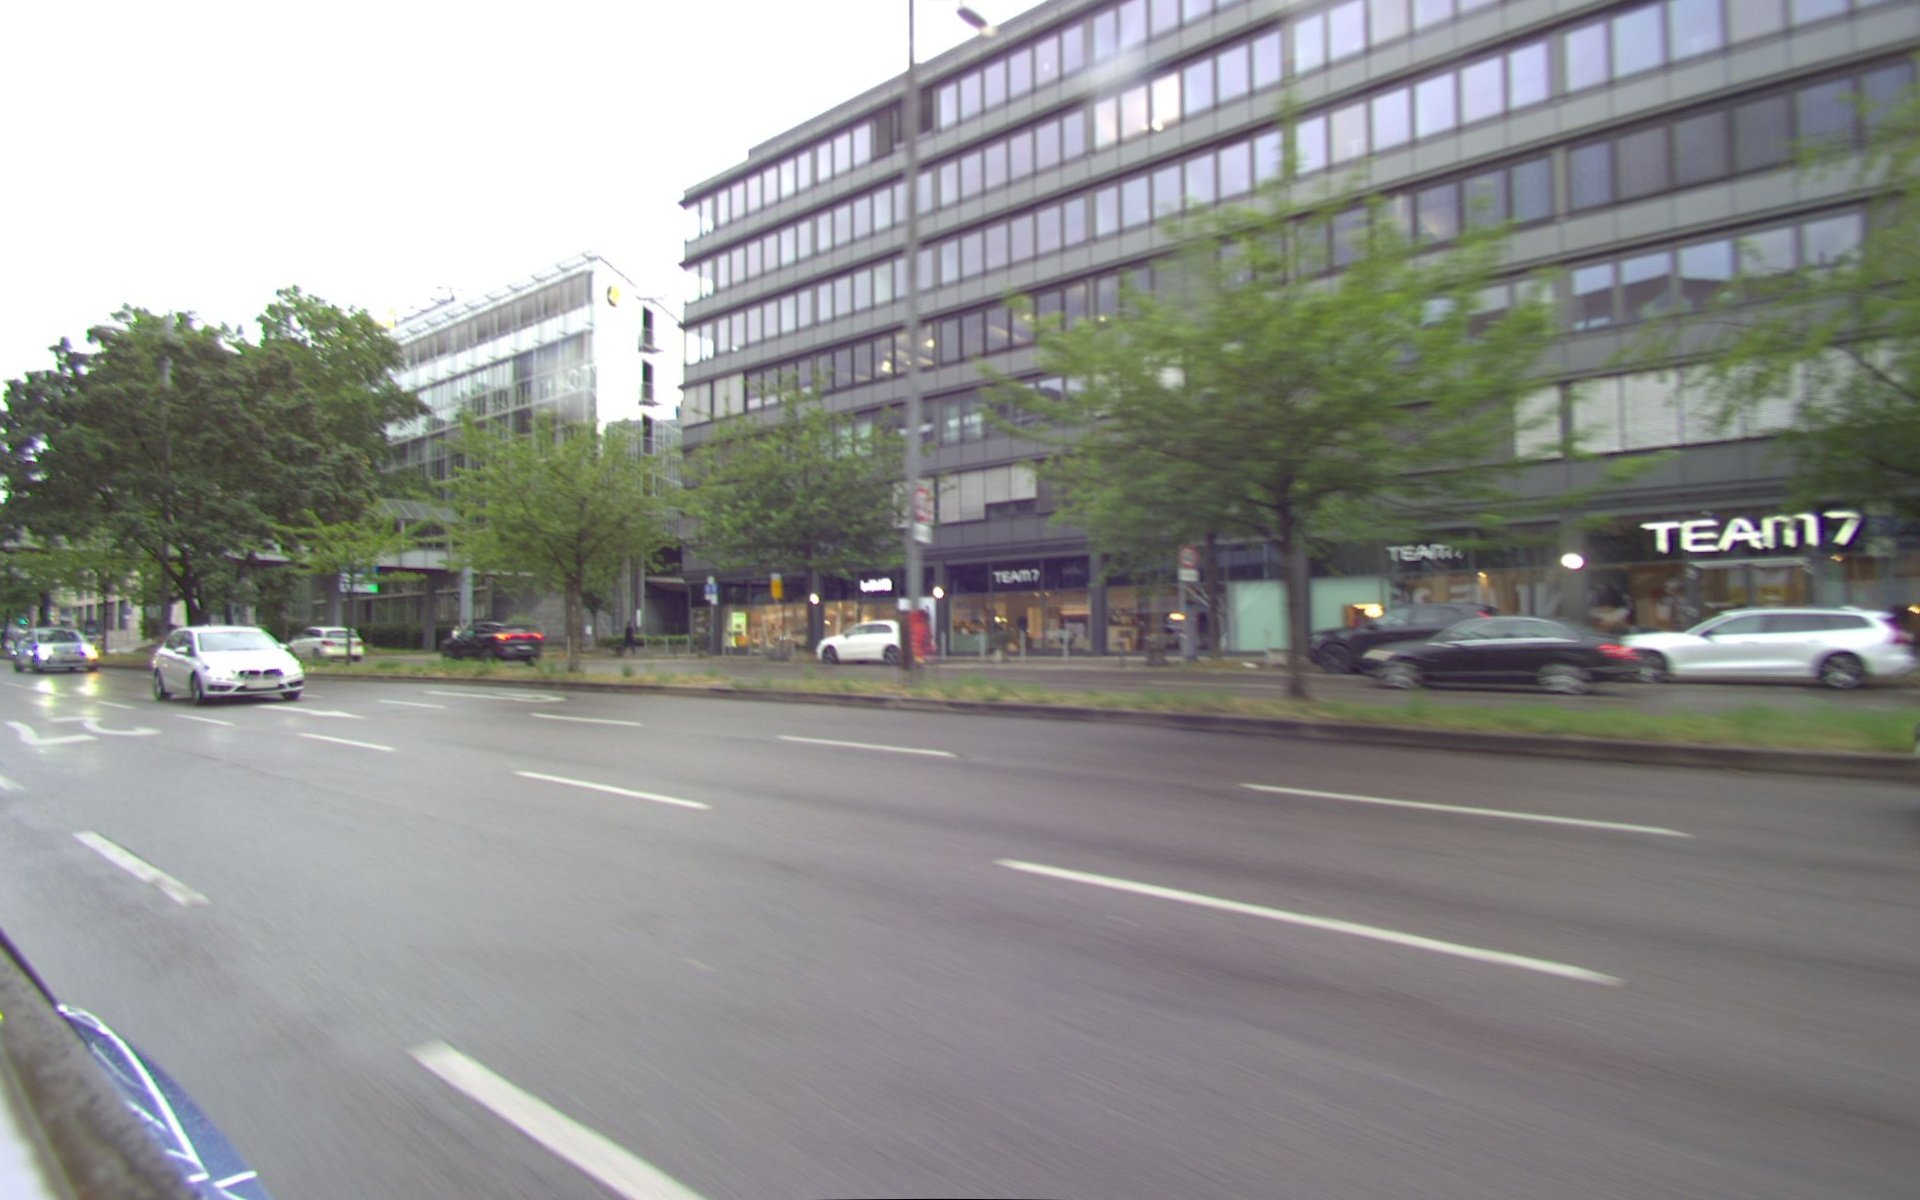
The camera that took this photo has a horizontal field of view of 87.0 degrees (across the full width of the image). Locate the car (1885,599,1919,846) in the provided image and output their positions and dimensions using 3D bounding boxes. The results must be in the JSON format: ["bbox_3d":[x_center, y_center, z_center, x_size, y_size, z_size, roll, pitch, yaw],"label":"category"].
[{"bbox_3d":[7.973,0.668,5.181,4.686,1.462,1.819,-2,-2,42],"label":"car"}]

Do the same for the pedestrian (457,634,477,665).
[{"bbox_3d":[-29.412,2.946,60.382,0.924,1.846,0.720,-2,-1,39],"label":"pedestrian"}]

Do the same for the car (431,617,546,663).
[{"bbox_3d":[-16.968,1.397,36.334,4.710,1.528,1.792,-1,-1,37],"label":"car"}]

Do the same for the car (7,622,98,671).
[{"bbox_3d":[-31.204,1.590,34.772,3.687,1.585,1.766,-2,-2,39],"label":"car"}]

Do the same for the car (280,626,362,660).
[{"bbox_3d":[-28.549,1.921,45.188,4.305,1.445,1.711,-2,-2,37],"label":"car"}]

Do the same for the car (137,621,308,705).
[{"bbox_3d":[-15.464,1.278,21.155,4.280,1.585,1.767,-2,-2,37],"label":"car"}]

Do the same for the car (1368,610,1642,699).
[{"bbox_3d":[10.168,0.997,19.022,4.294,1.487,1.792,-2,-2,37],"label":"car"}]

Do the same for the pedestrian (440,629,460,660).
[{"bbox_3d":[-30.029,2.608,59.610,0.924,1.812,0.720,-2,-1,39],"label":"pedestrian"}]

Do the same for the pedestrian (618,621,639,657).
[{"bbox_3d":[-17.033,1.989,52.012,0.729,1.830,0.754,-2,-2,39],"label":"pedestrian"}]

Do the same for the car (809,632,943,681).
[{"bbox_3d":[-2.837,1.855,33.555,4.301,1.455,1.792,-2,-1,36],"label":"car"}]

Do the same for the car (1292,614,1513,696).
[{"bbox_3d":[10.106,1.219,23.302,4.307,1.673,1.790,-2,-1,41],"label":"car"}]

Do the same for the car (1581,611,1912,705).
[{"bbox_3d":[14.805,1.057,19.353,4.768,1.496,1.791,-2,1,40],"label":"car"}]
